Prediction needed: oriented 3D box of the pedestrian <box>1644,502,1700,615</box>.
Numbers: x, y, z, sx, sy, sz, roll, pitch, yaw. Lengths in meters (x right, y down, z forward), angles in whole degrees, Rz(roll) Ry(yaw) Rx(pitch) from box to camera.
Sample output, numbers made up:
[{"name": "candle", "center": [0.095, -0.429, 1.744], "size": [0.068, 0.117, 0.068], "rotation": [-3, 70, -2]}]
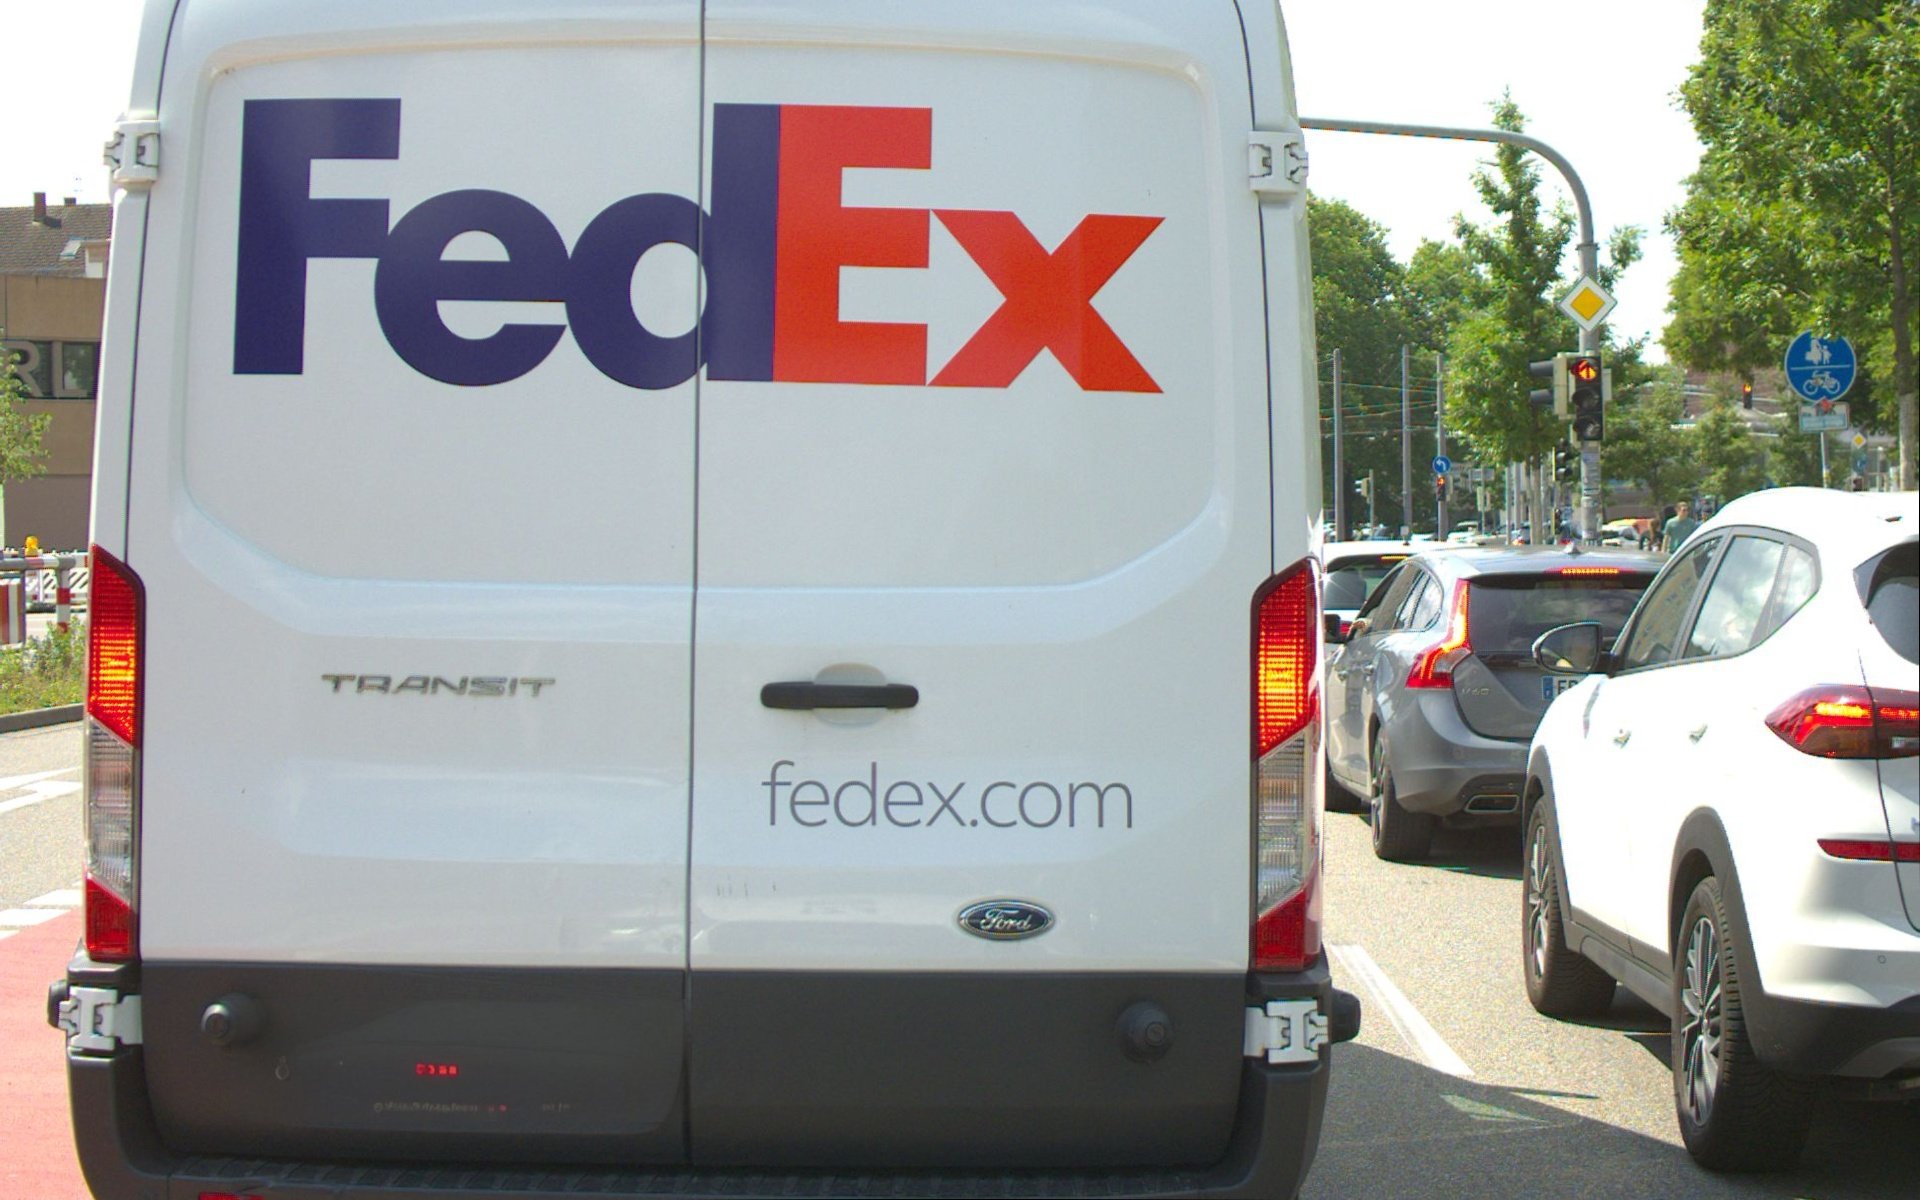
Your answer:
[{"name": "pedestrian", "center": [11.783, -0.691, 56.876], "size": [0.759, 1.843, 0.816], "rotation": [-1, 1, 1]}]

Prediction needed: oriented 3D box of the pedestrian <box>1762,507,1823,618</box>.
[{"name": "pedestrian", "center": [14.042, -0.639, 58.002], "size": [0.758, 1.843, 0.816], "rotation": [-1, 1, -5]}]

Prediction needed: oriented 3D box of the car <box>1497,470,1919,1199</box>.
[{"name": "car", "center": [2.630, 0.507, 9.217], "size": [1.814, 1.673, 3.974], "rotation": [0, 1, 1]}]

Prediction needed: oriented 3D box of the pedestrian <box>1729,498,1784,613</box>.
[{"name": "pedestrian", "center": [12.458, -0.704, 53.795], "size": [0.759, 1.783, 0.816], "rotation": [0, 1, 8]}]

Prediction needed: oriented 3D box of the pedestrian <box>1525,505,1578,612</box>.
[{"name": "pedestrian", "center": [10.290, -0.721, 59.857], "size": [0.813, 1.843, 0.761], "rotation": [-1, 1, 3]}]

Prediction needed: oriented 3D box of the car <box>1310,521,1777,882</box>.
[{"name": "car", "center": [2.714, 0.398, 16.744], "size": [1.691, 1.543, 3.720], "rotation": [0, 1, 1]}]

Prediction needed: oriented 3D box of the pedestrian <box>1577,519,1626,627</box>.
[{"name": "pedestrian", "center": [11.013, -0.466, 59.042], "size": [0.759, 1.843, 0.816], "rotation": [0, 1, 15]}]

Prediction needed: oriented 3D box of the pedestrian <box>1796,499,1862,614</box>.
[{"name": "pedestrian", "center": [14.175, -0.718, 56.080], "size": [0.758, 1.843, 0.816], "rotation": [-1, 1, -10]}]

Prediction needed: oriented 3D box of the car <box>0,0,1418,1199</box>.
[{"name": "car", "center": [-0.345, 0.072, 7.175], "size": [2.072, 2.572, 4.428], "rotation": [0, 1, 1]}]

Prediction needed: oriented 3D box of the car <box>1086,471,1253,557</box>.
[{"name": "car", "center": [7.055, -2.833, 114.707], "size": [2.492, 2.708, 7.072], "rotation": [1, 1, 32]}]

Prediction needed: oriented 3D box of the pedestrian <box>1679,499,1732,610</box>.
[{"name": "pedestrian", "center": [12.558, -0.772, 57.924], "size": [0.759, 1.843, 0.816], "rotation": [-1, 1, 3]}]

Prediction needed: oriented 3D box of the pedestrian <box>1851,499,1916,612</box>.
[{"name": "pedestrian", "center": [15.129, -0.734, 56.308], "size": [0.758, 1.843, 0.816], "rotation": [-1, 1, -8]}]

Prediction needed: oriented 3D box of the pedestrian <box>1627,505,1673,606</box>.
[{"name": "pedestrian", "center": [12.797, -0.829, 63.789], "size": [0.759, 1.843, 0.816], "rotation": [-1, 1, 6]}]

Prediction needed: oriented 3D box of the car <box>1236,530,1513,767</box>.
[{"name": "car", "center": [2.731, 0.269, 23.251], "size": [1.499, 1.459, 3.474], "rotation": [0, 1, 1]}]
